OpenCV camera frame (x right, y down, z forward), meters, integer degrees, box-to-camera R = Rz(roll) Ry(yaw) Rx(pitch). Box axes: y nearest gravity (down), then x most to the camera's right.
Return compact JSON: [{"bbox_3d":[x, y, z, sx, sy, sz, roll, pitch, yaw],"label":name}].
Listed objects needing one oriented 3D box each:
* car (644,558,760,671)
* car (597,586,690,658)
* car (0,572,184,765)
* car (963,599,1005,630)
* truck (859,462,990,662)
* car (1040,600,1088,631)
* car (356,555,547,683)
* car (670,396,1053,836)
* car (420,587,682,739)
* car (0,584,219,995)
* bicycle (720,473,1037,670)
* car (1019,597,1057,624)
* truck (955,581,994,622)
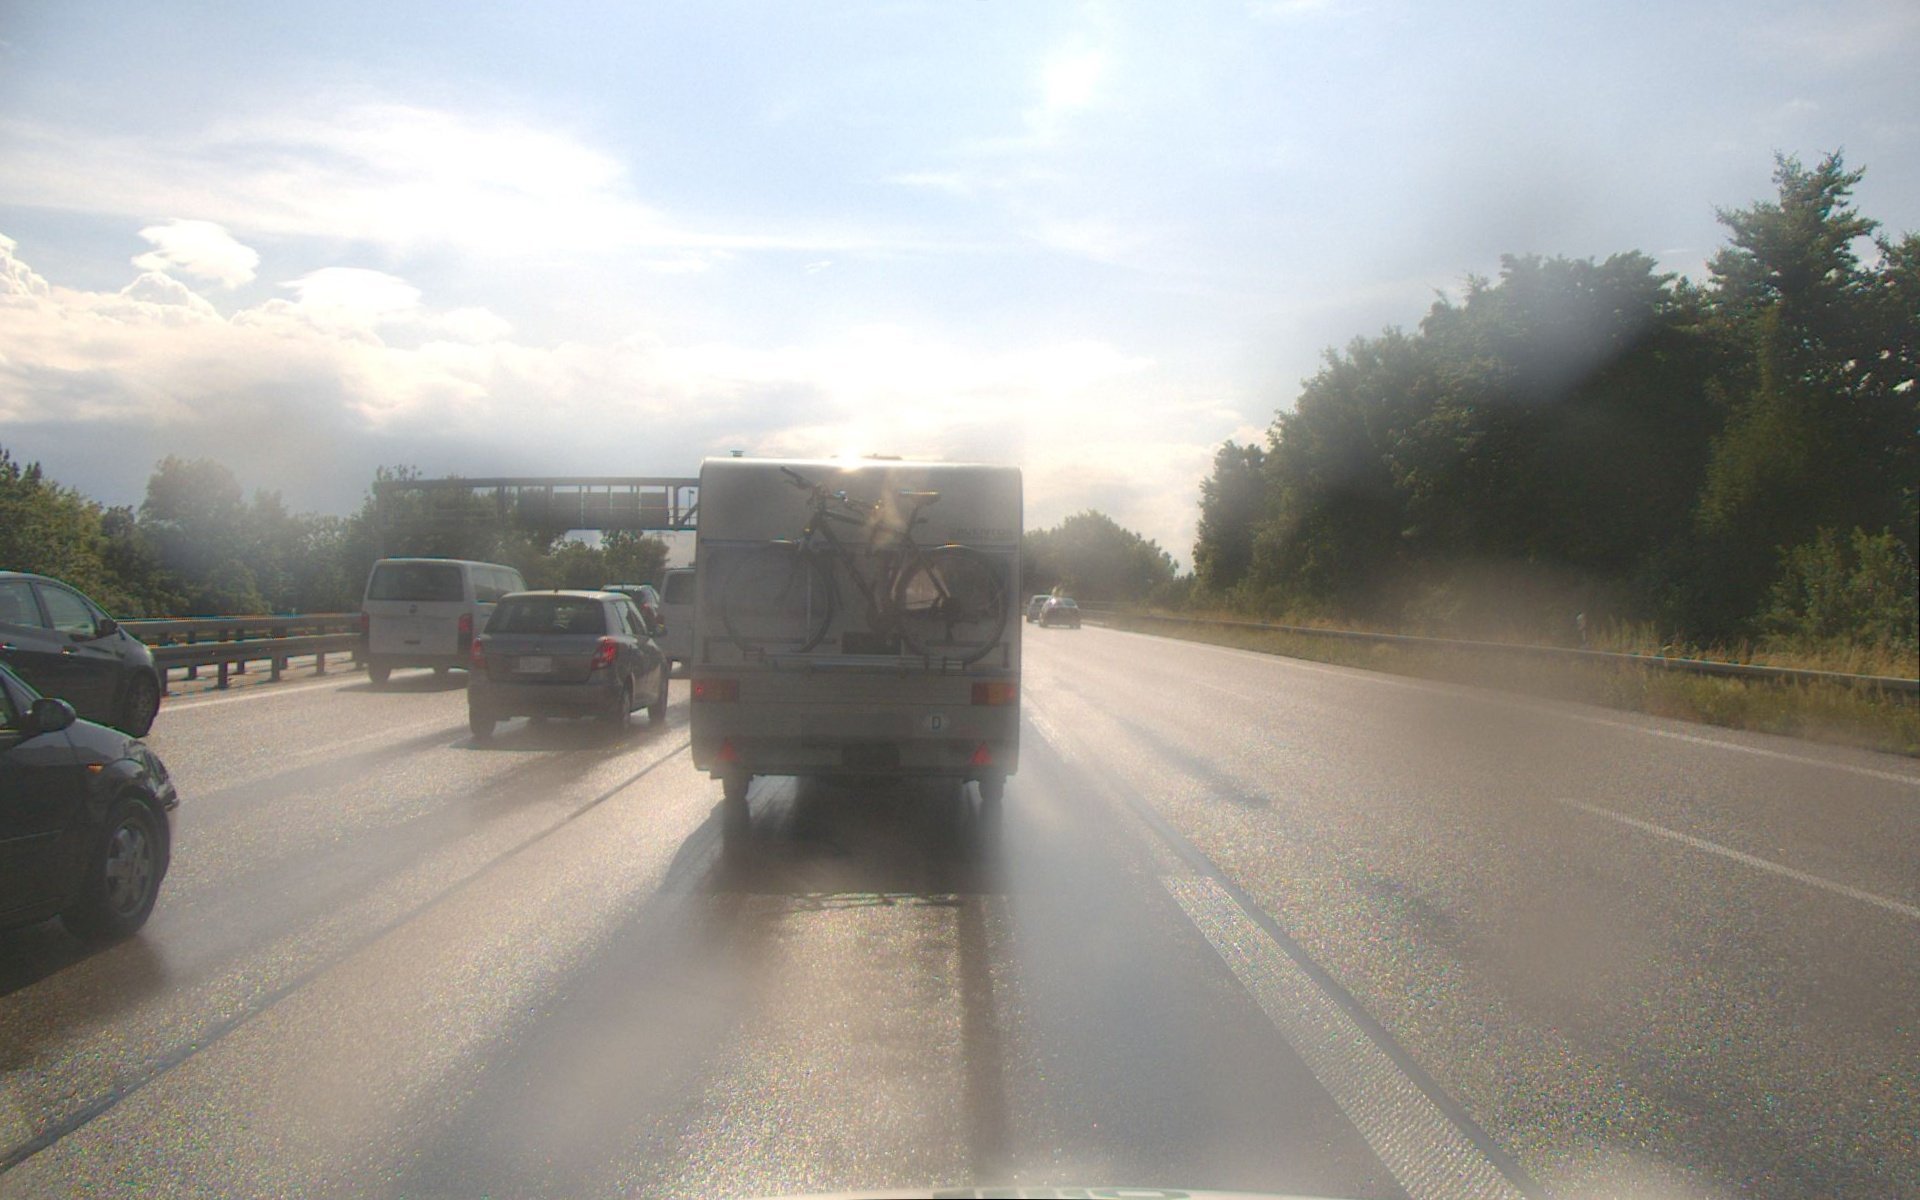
[{"bbox_3d":[-4.975,0.278,32.357,1.839,2.049,3.997,1,0,-4],"label":"car"},{"bbox_3d":[-7.794,0.522,41.061,1.736,1.691,3.997,1,0,-4],"label":"car"},{"bbox_3d":[-8.858,0.553,15.088,1.747,1.606,3.915,0,0,-1],"label":"car"},{"bbox_3d":[1.236,0.740,86.564,1.799,1.585,3.996,1,0,-5],"label":"car"},{"bbox_3d":[-1.033,-0.904,44.596,3.083,4.707,10.731,0,0,-2],"label":"truck"},{"bbox_3d":[5.260,0.753,84.248,1.840,1.521,3.996,1,0,-5],"label":"car"},{"bbox_3d":[-8.506,0.291,28.122,1.810,1.967,5.014,0,0,-2],"label":"car"},{"bbox_3d":[-0.624,0.104,12.354,2.361,2.721,3.999,1,0,0],"label":"car"},{"bbox_3d":[-4.359,0.619,18.235,1.947,1.483,3.826,1,0,0],"label":"car"},{"bbox_3d":[-4.279,0.670,5.628,1.723,1.468,4.000,1,0,0],"label":"car"},{"bbox_3d":[-0.488,-0.171,10.153,1.894,1.161,0.384,1,0,0],"label":"bicycle"},{"bbox_3d":[4.777,0.638,102.112,1.840,1.657,3.996,1,0,-5],"label":"car"},{"bbox_3d":[0.863,0.085,102.885,2.366,2.486,6.052,0,0,0],"label":"truck"}]
